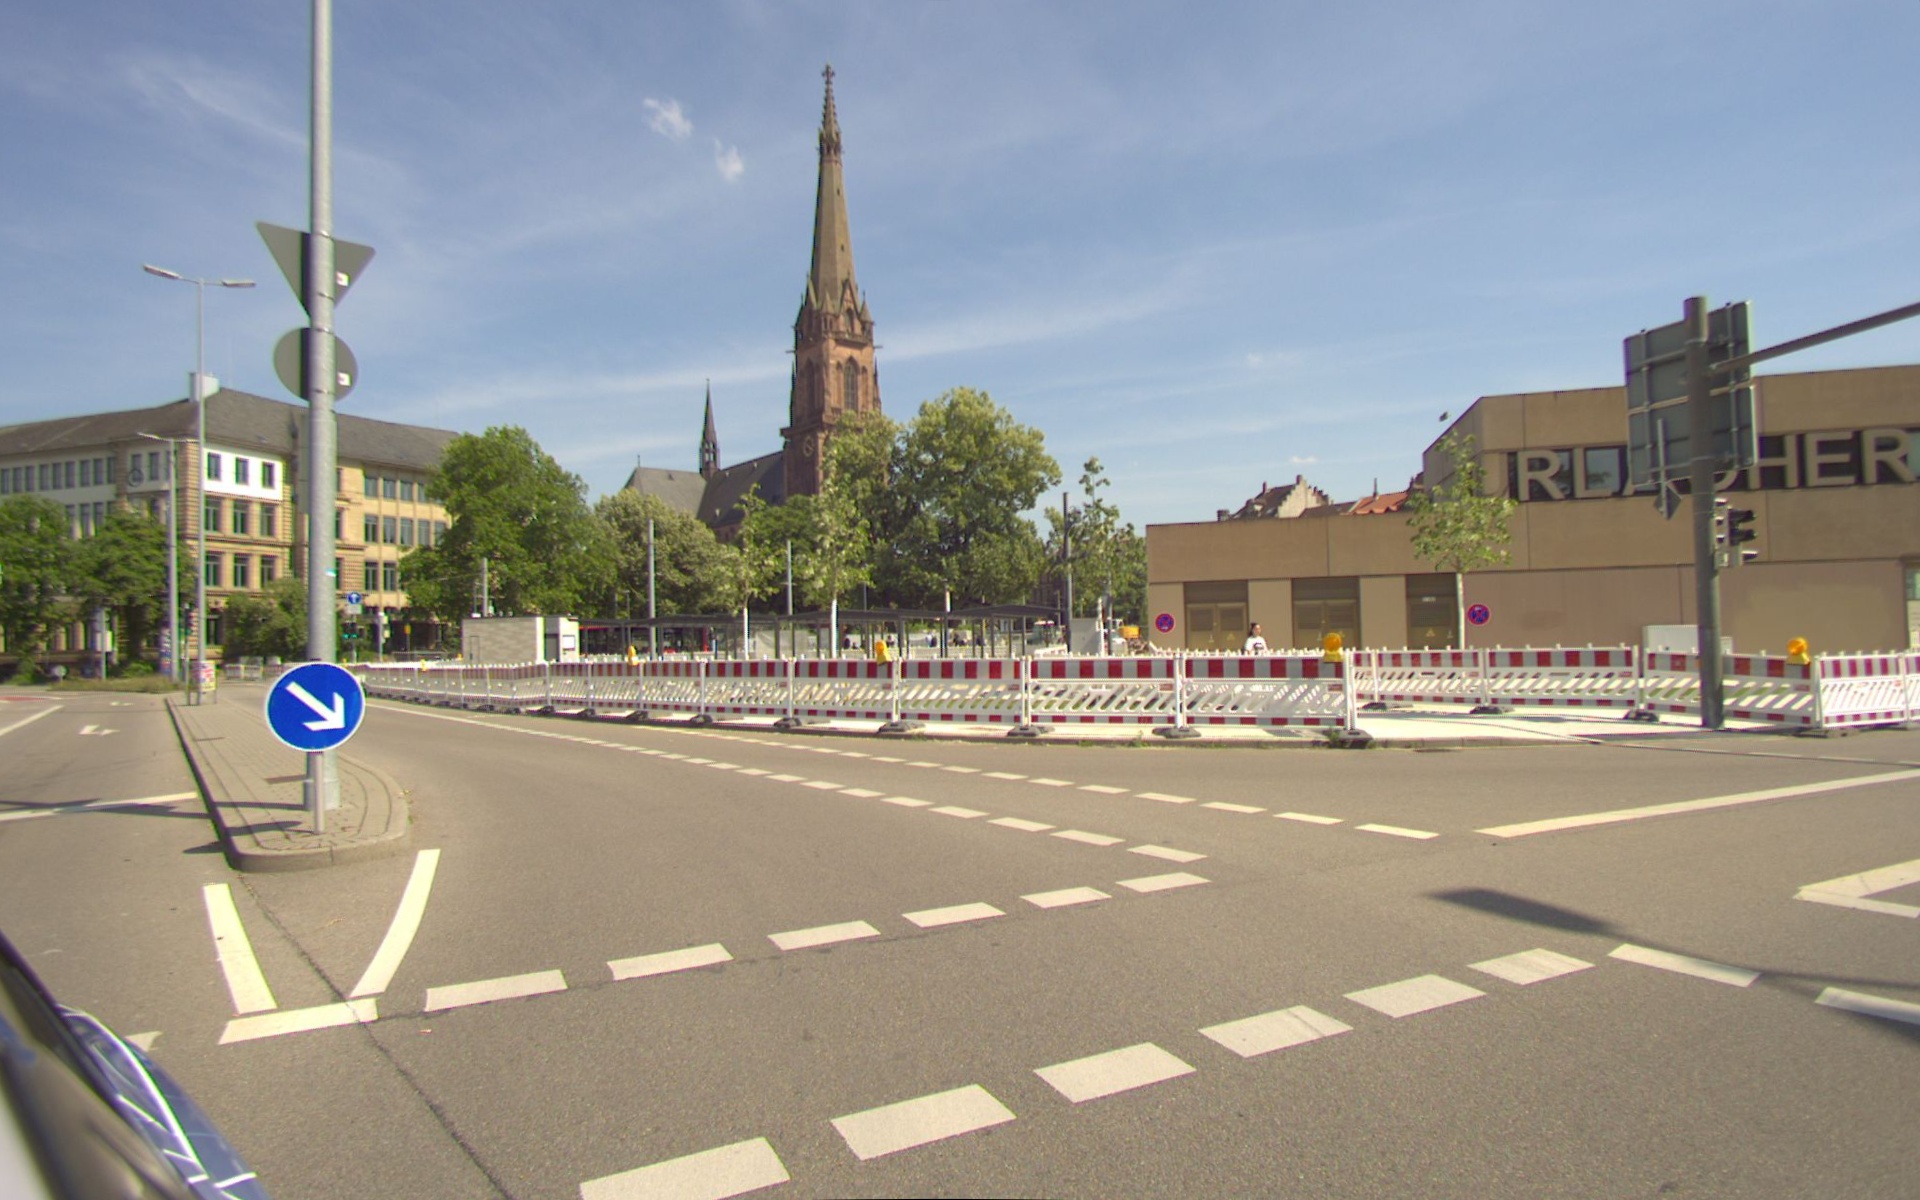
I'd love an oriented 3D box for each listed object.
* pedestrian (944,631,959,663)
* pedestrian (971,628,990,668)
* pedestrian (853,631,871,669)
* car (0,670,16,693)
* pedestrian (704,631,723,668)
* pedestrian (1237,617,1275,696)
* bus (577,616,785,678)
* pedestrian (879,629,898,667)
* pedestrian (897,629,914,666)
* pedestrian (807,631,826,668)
[{"bbox_3d":[-0.437,2.529,54.272,0.735,1.674,0.820,-1,-3,2],"label":"pedestrian"},{"bbox_3d":[1.050,2.472,52.415,0.683,2.029,0.813,-3,-3,26],"label":"pedestrian"},{"bbox_3d":[-5.338,2.707,55.133,0.681,2.029,0.815,-2,-3,20],"label":"pedestrian"},{"bbox_3d":[-76.476,6.458,78.764,1.982,1.674,3.980,-1,0,15],"label":"car"},{"bbox_3d":[-13.914,2.795,57.139,0.807,2.029,0.688,1,-3,-37],"label":"pedestrian"},{"bbox_3d":[6.054,1.155,20.698,0.548,1.577,0.425,0,-3,-23],"label":"pedestrian"},{"bbox_3d":[-17.216,2.893,62.388,12.288,3.117,3.120,-3,-1,13],"label":"bus"},{"bbox_3d":[-3.932,2.639,55.687,0.681,2.029,0.815,-2,-2,20],"label":"pedestrian"},{"bbox_3d":[-3.000,2.615,55.753,0.681,2.029,0.815,-2,-3,20],"label":"pedestrian"},{"bbox_3d":[-7.958,2.749,56.224,0.813,2.029,0.683,-2,-3,15],"label":"pedestrian"}]
